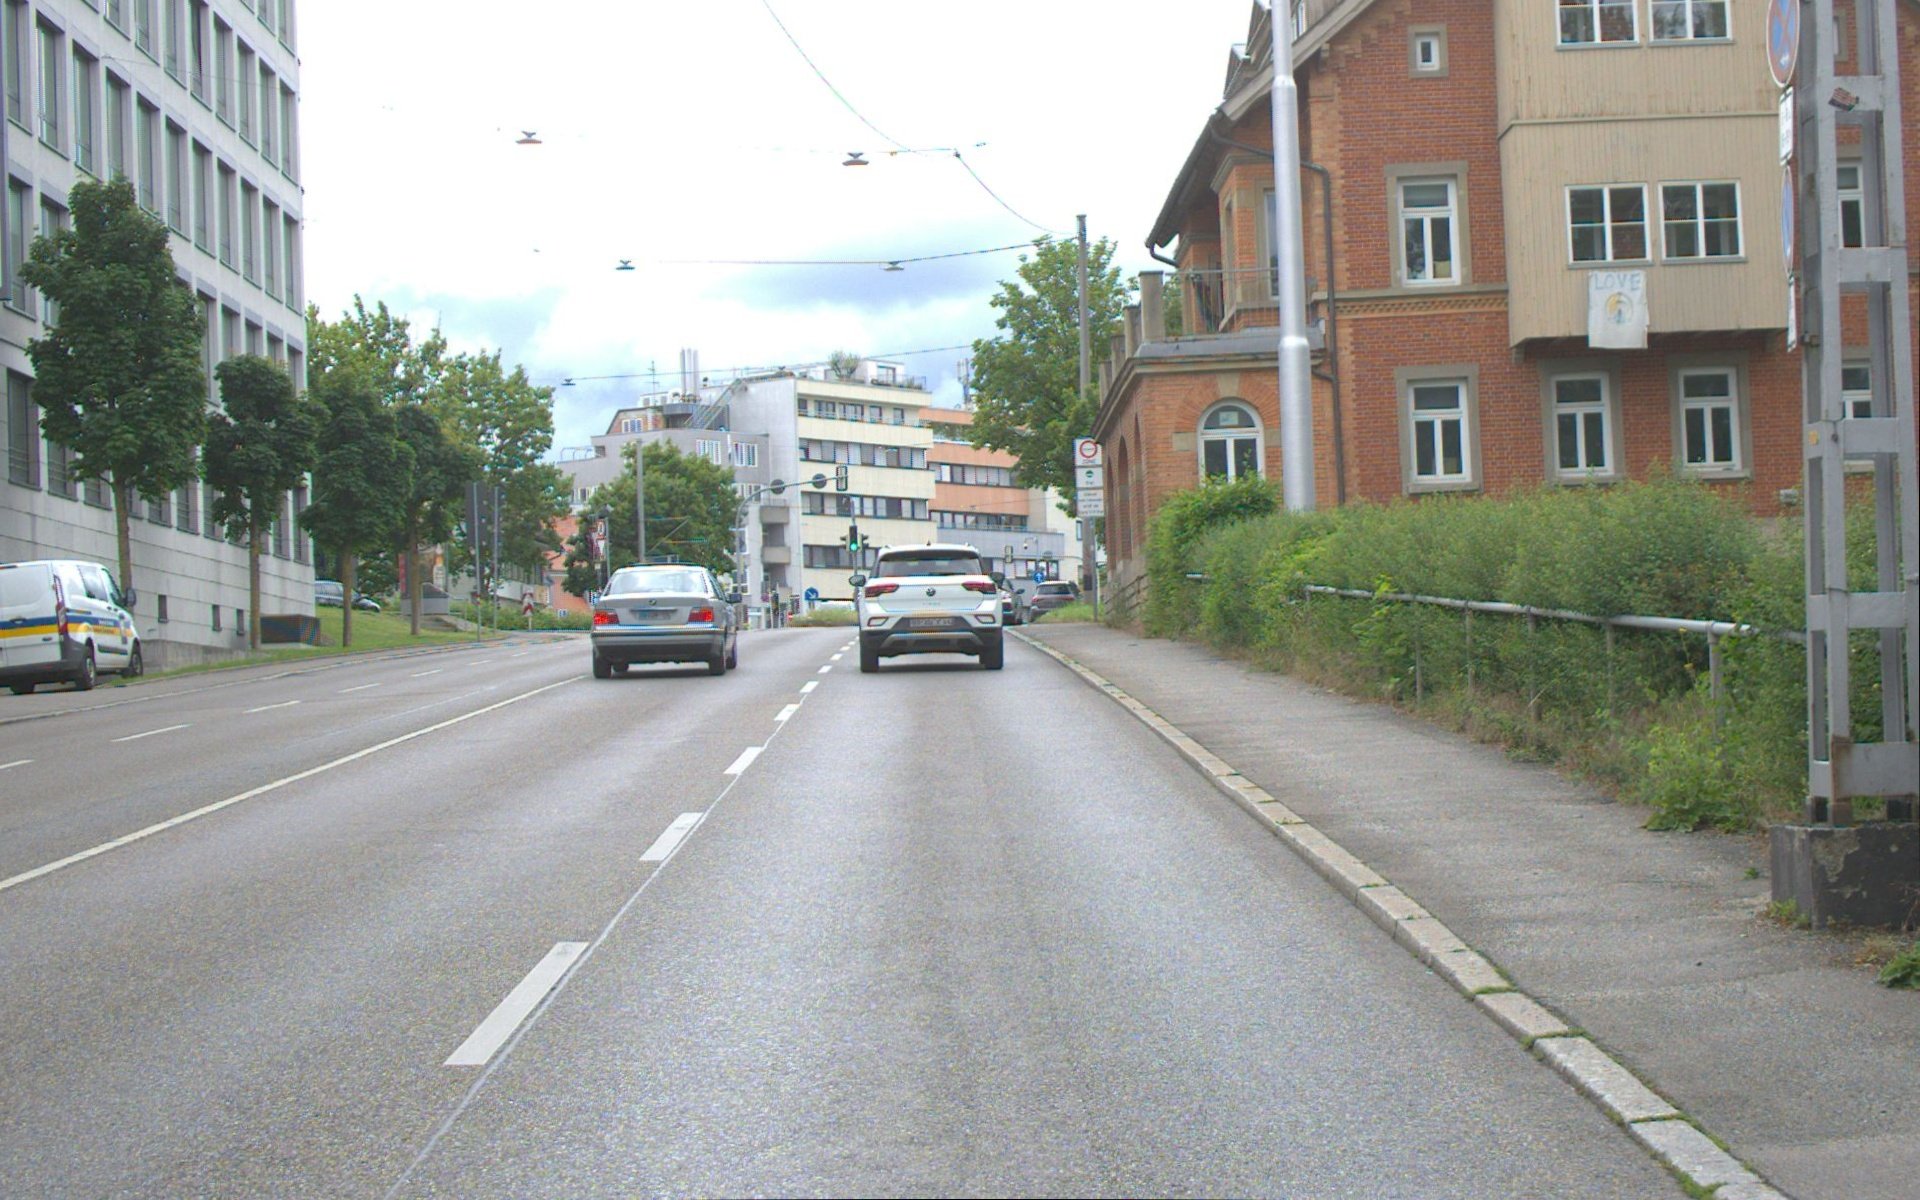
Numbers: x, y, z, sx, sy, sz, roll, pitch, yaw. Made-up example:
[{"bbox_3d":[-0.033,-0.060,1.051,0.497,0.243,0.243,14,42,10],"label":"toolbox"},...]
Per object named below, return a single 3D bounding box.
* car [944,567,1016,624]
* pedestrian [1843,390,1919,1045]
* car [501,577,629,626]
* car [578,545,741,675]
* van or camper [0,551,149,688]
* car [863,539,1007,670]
[{"bbox_3d":[0.599,-0.134,100.360,1.771,1.565,4.284,-2,0,4],"label":"car"},{"bbox_3d":[3.144,0.323,9.789,0.812,1.878,0.949,-3,1,-11],"label":"pedestrian"},{"bbox_3d":[-13.067,0.046,113.849,1.780,1.539,3.990,-2,-1,44],"label":"car"},{"bbox_3d":[-3.738,0.093,43.268,1.700,1.511,3.736,-2,1,0],"label":"car"},{"bbox_3d":[-13.972,0.260,52.808,2.060,1.961,4.873,-2,1,-3],"label":"van or camper"},{"bbox_3d":[-0.320,0.025,43.195,1.700,1.543,3.736,1,1,-1],"label":"car"}]
